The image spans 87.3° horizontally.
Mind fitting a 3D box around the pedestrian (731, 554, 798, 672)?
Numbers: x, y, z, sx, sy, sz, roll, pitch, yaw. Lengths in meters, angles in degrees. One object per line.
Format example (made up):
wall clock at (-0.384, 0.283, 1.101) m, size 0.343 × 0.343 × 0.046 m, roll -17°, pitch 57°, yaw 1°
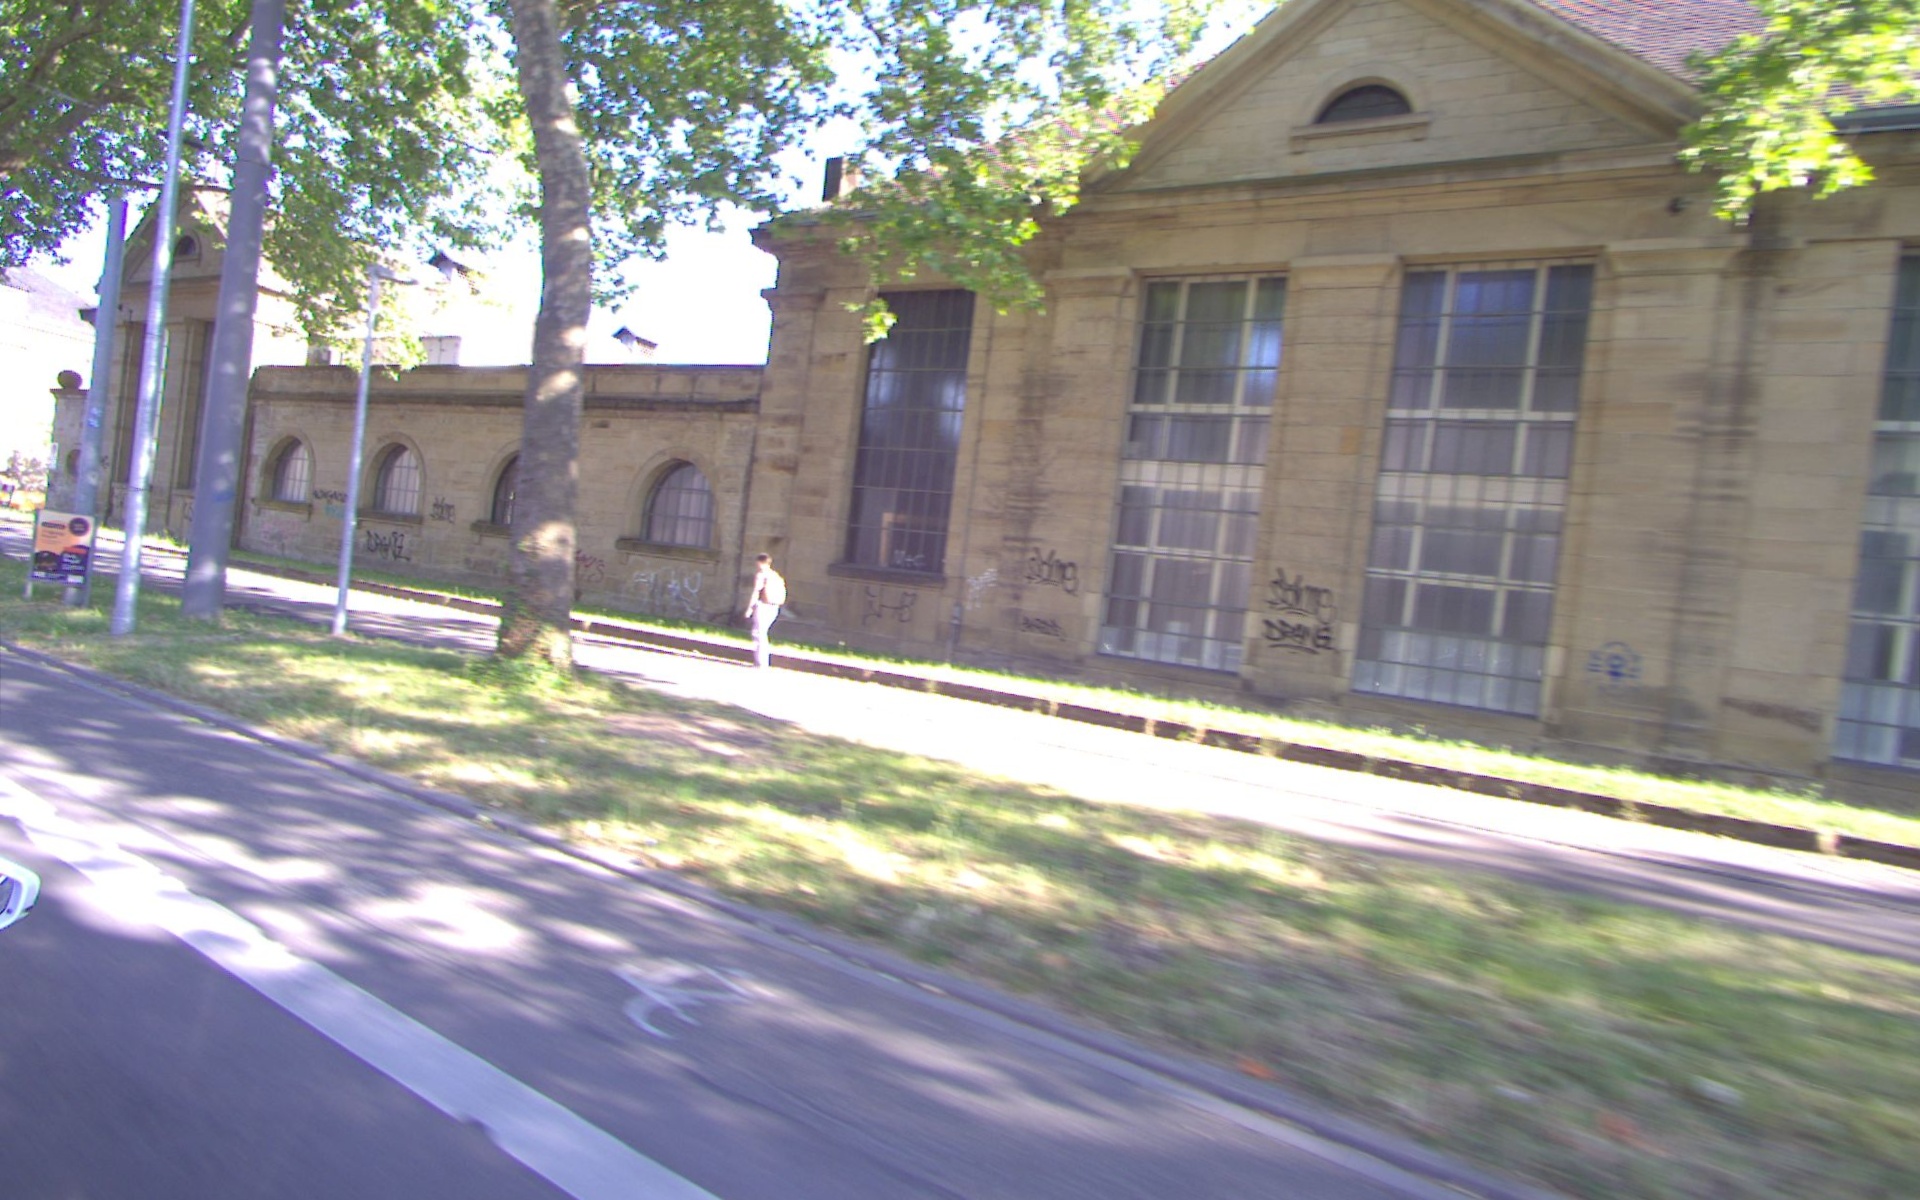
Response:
pedestrian at (-2.963, 0.187, 15.250) m, size 0.625 × 1.705 × 0.608 m, roll 7°, pitch 4°, yaw 27°
